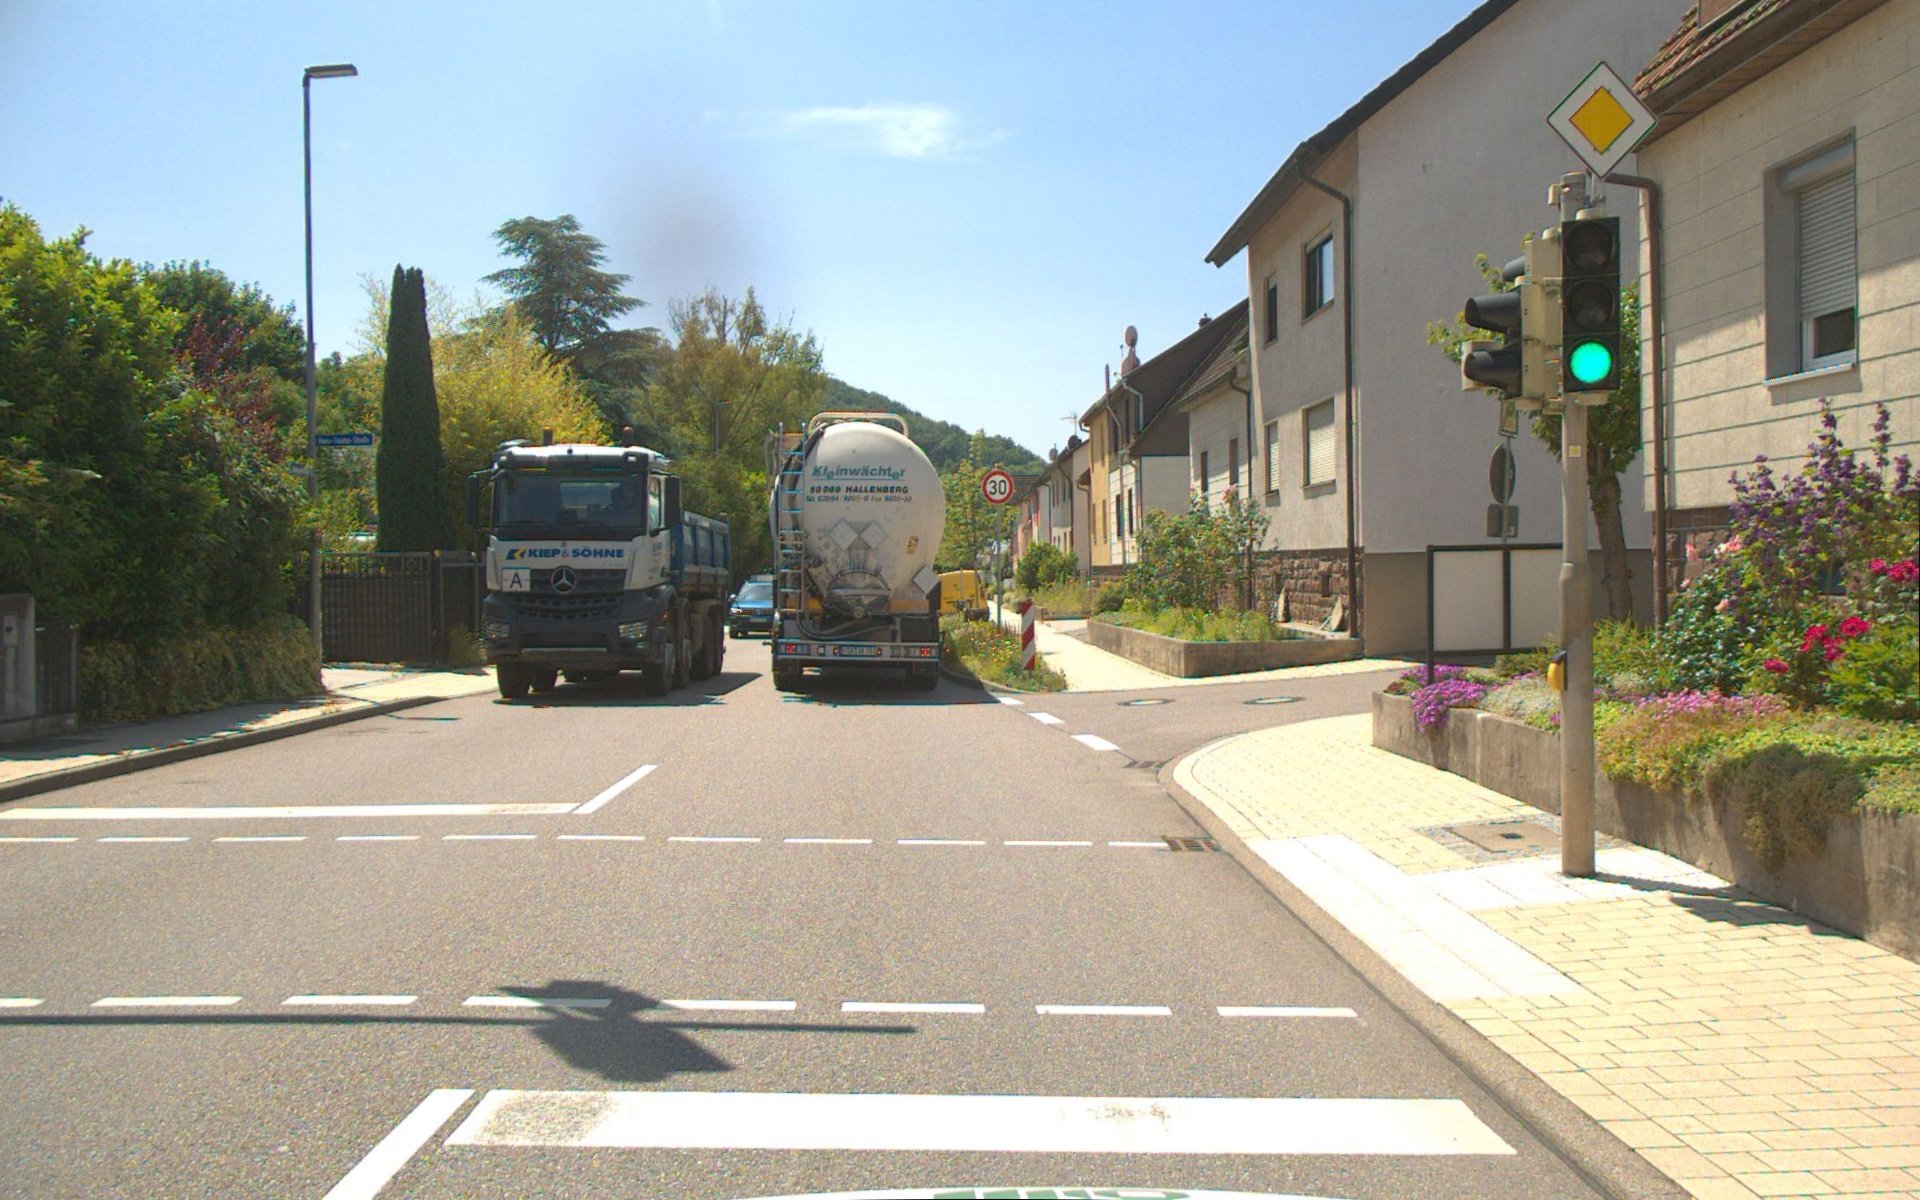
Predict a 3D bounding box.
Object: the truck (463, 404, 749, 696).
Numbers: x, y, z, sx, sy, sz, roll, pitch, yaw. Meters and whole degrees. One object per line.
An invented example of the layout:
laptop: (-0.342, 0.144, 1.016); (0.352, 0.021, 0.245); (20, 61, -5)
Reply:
truck: (-5.211, -0.704, 26.123); (2.489, 3.803, 8.622); (-1, 1, 1)

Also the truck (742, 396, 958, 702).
truck: (-1.490, -0.762, 27.809); (2.693, 4.127, 10.891); (0, 1, 1)

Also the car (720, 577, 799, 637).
car: (-5.959, 0.208, 49.613); (1.850, 1.674, 4.612); (1, 0, -1)

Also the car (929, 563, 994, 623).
car: (0.004, -0.248, 63.624); (2.146, 2.048, 5.620); (-5, 0, -2)
